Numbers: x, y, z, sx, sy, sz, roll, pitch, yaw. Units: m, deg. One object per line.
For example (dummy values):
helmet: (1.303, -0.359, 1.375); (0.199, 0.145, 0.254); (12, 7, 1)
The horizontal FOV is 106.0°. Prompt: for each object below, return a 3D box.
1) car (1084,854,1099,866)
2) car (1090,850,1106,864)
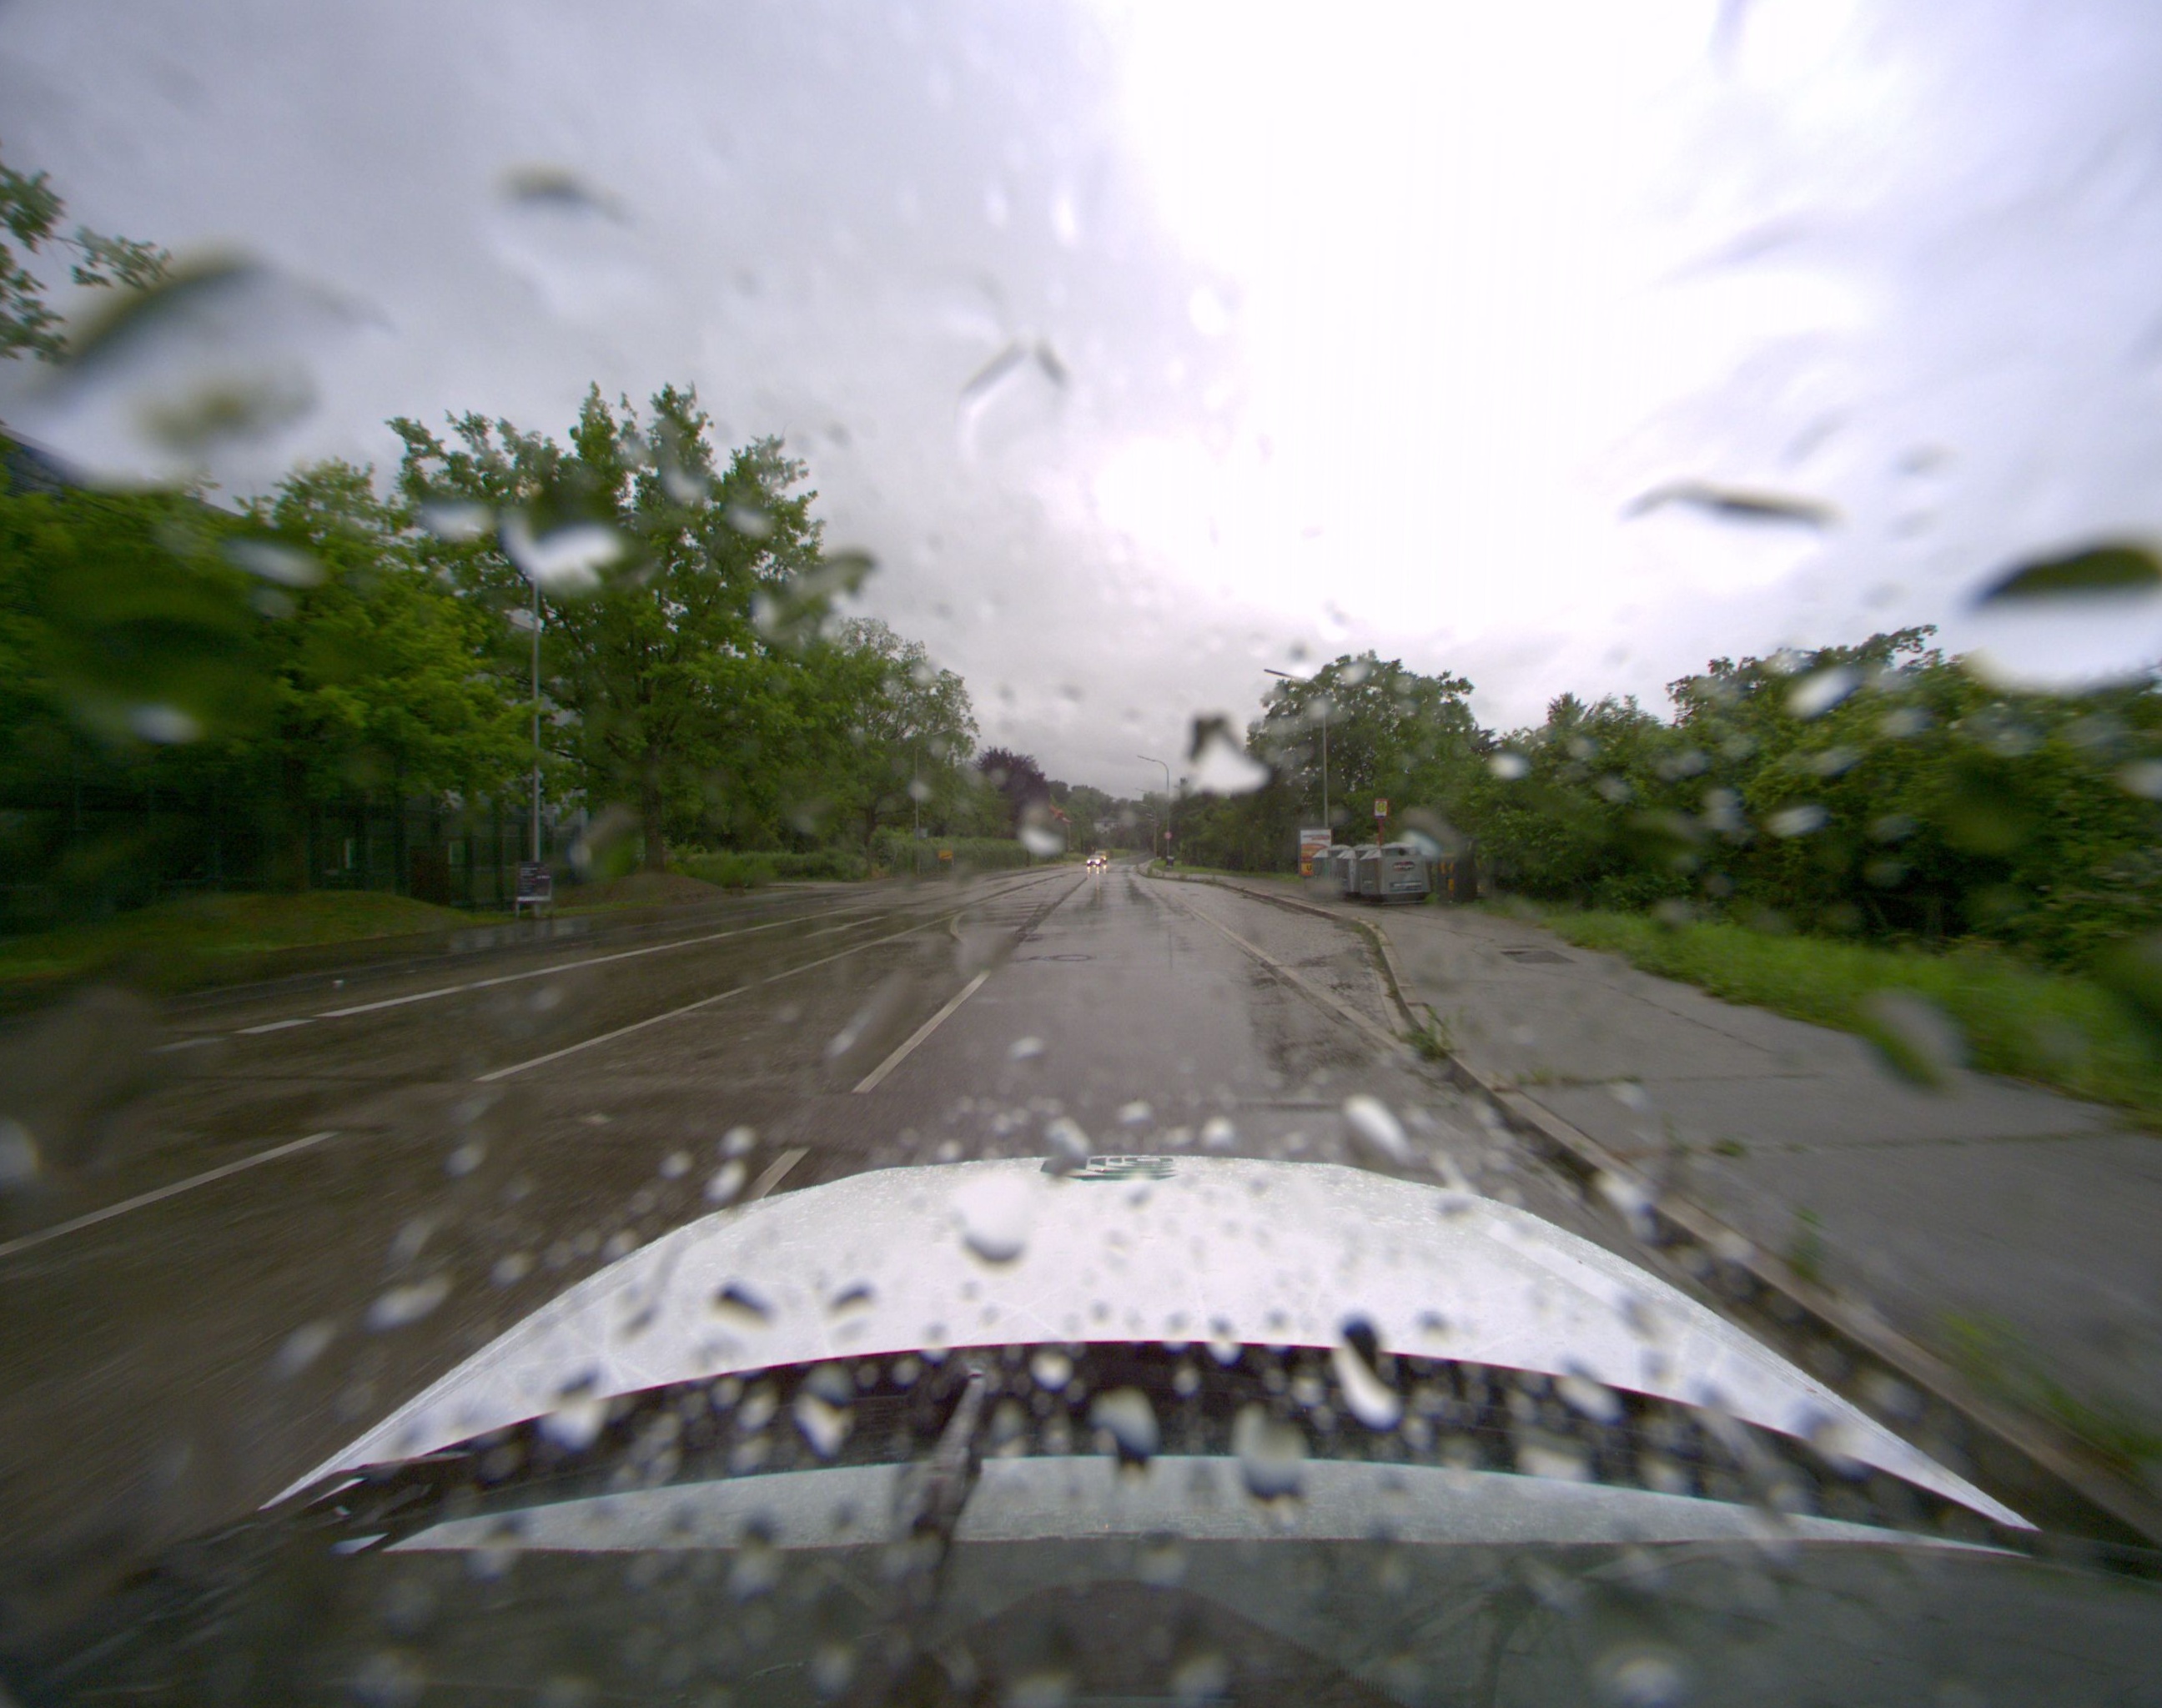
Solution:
car: (1.324, 0.733, 102.228); (1.694, 1.349, 3.909); (-1, 0, 3)
car: (2.497, 0.423, 119.364); (1.928, 1.871, 5.043); (-1, 0, 5)
